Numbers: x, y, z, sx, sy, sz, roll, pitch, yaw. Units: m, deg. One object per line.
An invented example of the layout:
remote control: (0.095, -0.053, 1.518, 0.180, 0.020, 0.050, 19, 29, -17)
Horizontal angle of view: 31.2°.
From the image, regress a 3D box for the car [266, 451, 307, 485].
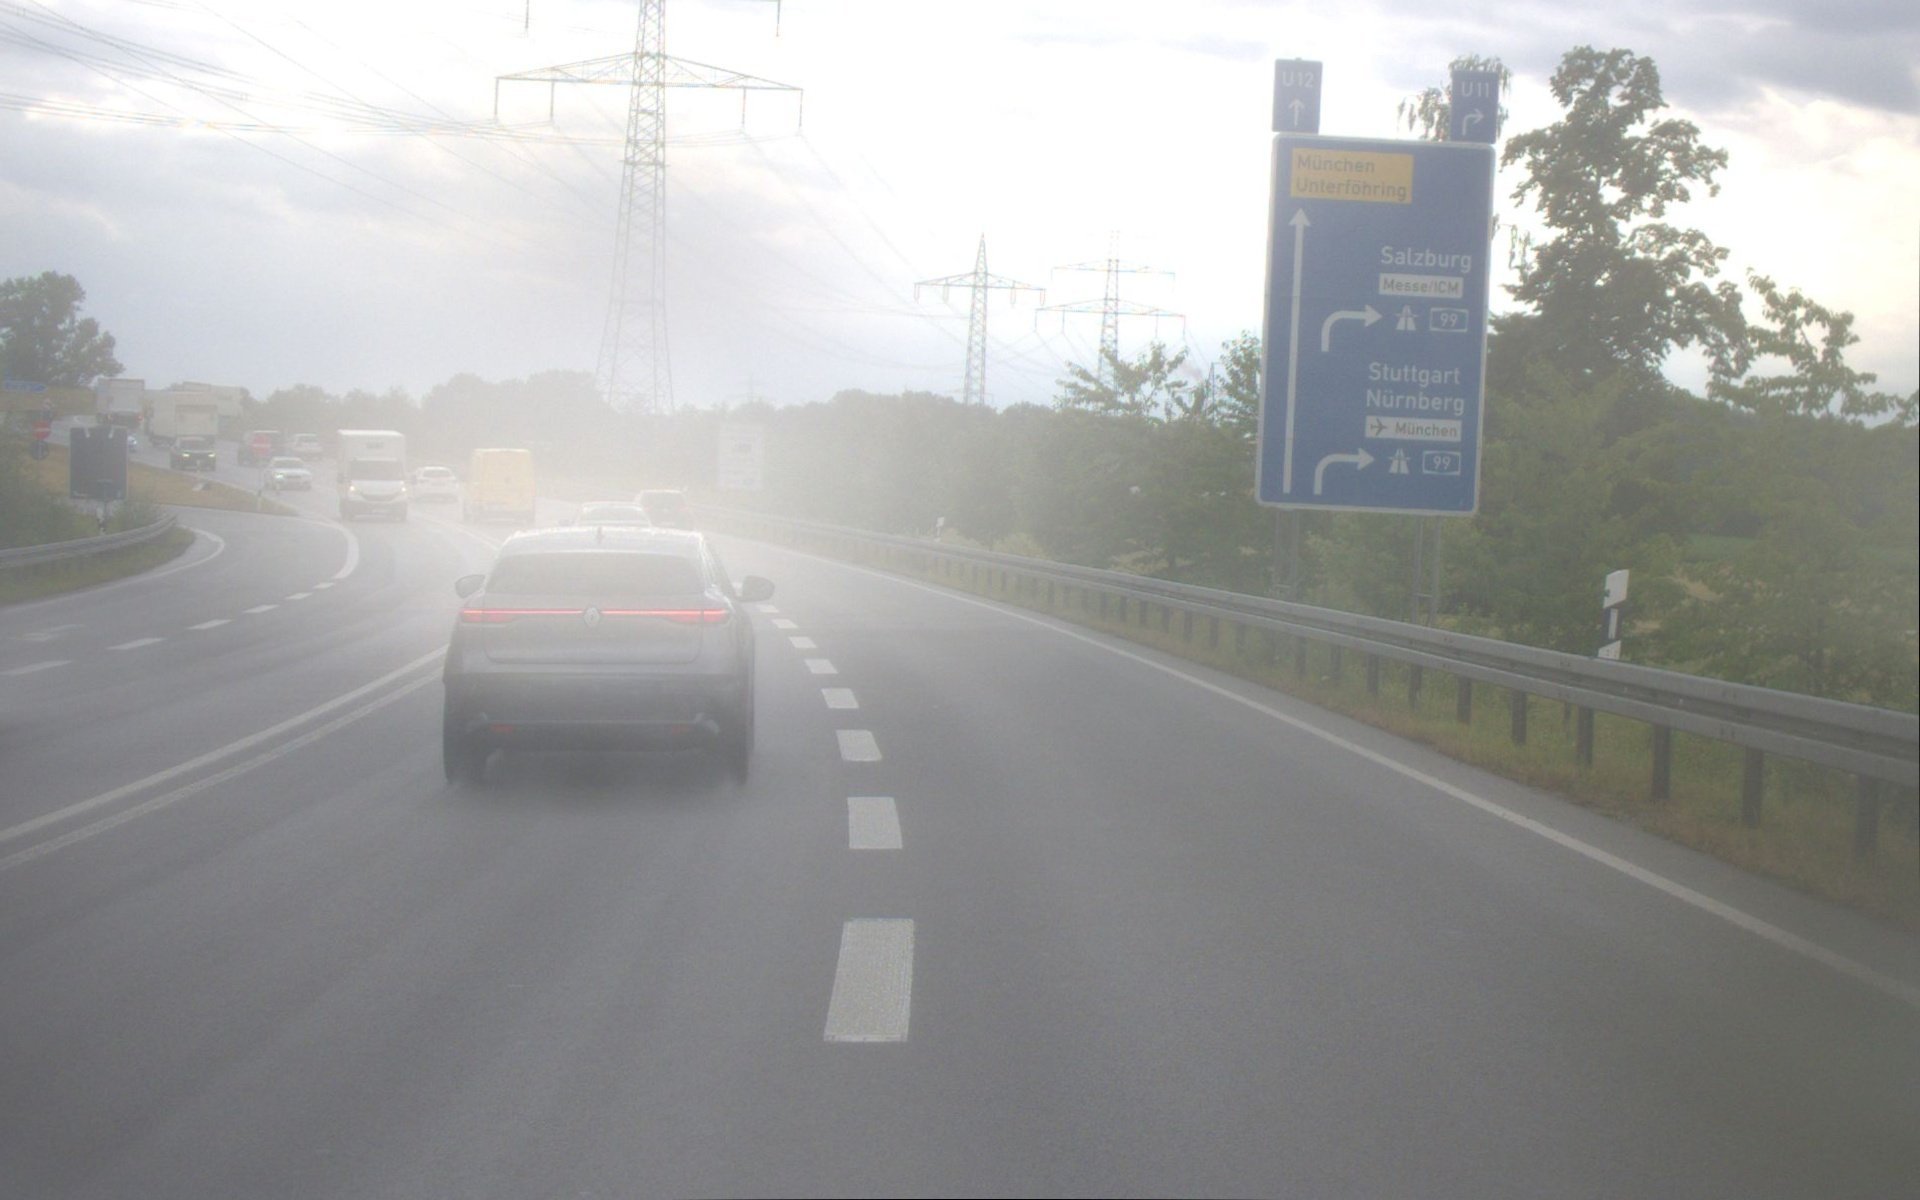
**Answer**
car: (-30.629, -5.989, 156.336, 1.791, 1.436, 4.001, 0, 1, -10)

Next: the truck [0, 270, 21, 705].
truck: (-8.468, -0.748, 22.796, 2.480, 3.280, 7.281, 0, 2, 0)

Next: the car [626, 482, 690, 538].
car: (-8.923, -2.655, 101.474, 1.791, 1.536, 4.001, 3, 1, -5)

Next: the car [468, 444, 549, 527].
car: (-15.458, -3.875, 117.280, 2.572, 2.716, 7.198, 0, 2, -9)

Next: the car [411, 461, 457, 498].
car: (-21.581, -4.934, 141.128, 1.791, 1.436, 4.001, 1, 1, -8)

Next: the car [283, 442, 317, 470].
car: (-37.730, -8.240, 196.591, 1.799, 1.569, 4.261, 0, 2, -9)

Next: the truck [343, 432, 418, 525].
truck: (-20.127, -4.221, 119.609, 2.255, 3.145, 6.692, 0, 2, -7)

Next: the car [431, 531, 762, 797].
car: (-2.147, 0.337, 21.247, 1.791, 1.436, 4.001, 2, 1, -3)

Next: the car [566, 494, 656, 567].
car: (-7.302, -1.460, 72.200, 1.791, 1.436, 4.001, 2, 1, -5)
